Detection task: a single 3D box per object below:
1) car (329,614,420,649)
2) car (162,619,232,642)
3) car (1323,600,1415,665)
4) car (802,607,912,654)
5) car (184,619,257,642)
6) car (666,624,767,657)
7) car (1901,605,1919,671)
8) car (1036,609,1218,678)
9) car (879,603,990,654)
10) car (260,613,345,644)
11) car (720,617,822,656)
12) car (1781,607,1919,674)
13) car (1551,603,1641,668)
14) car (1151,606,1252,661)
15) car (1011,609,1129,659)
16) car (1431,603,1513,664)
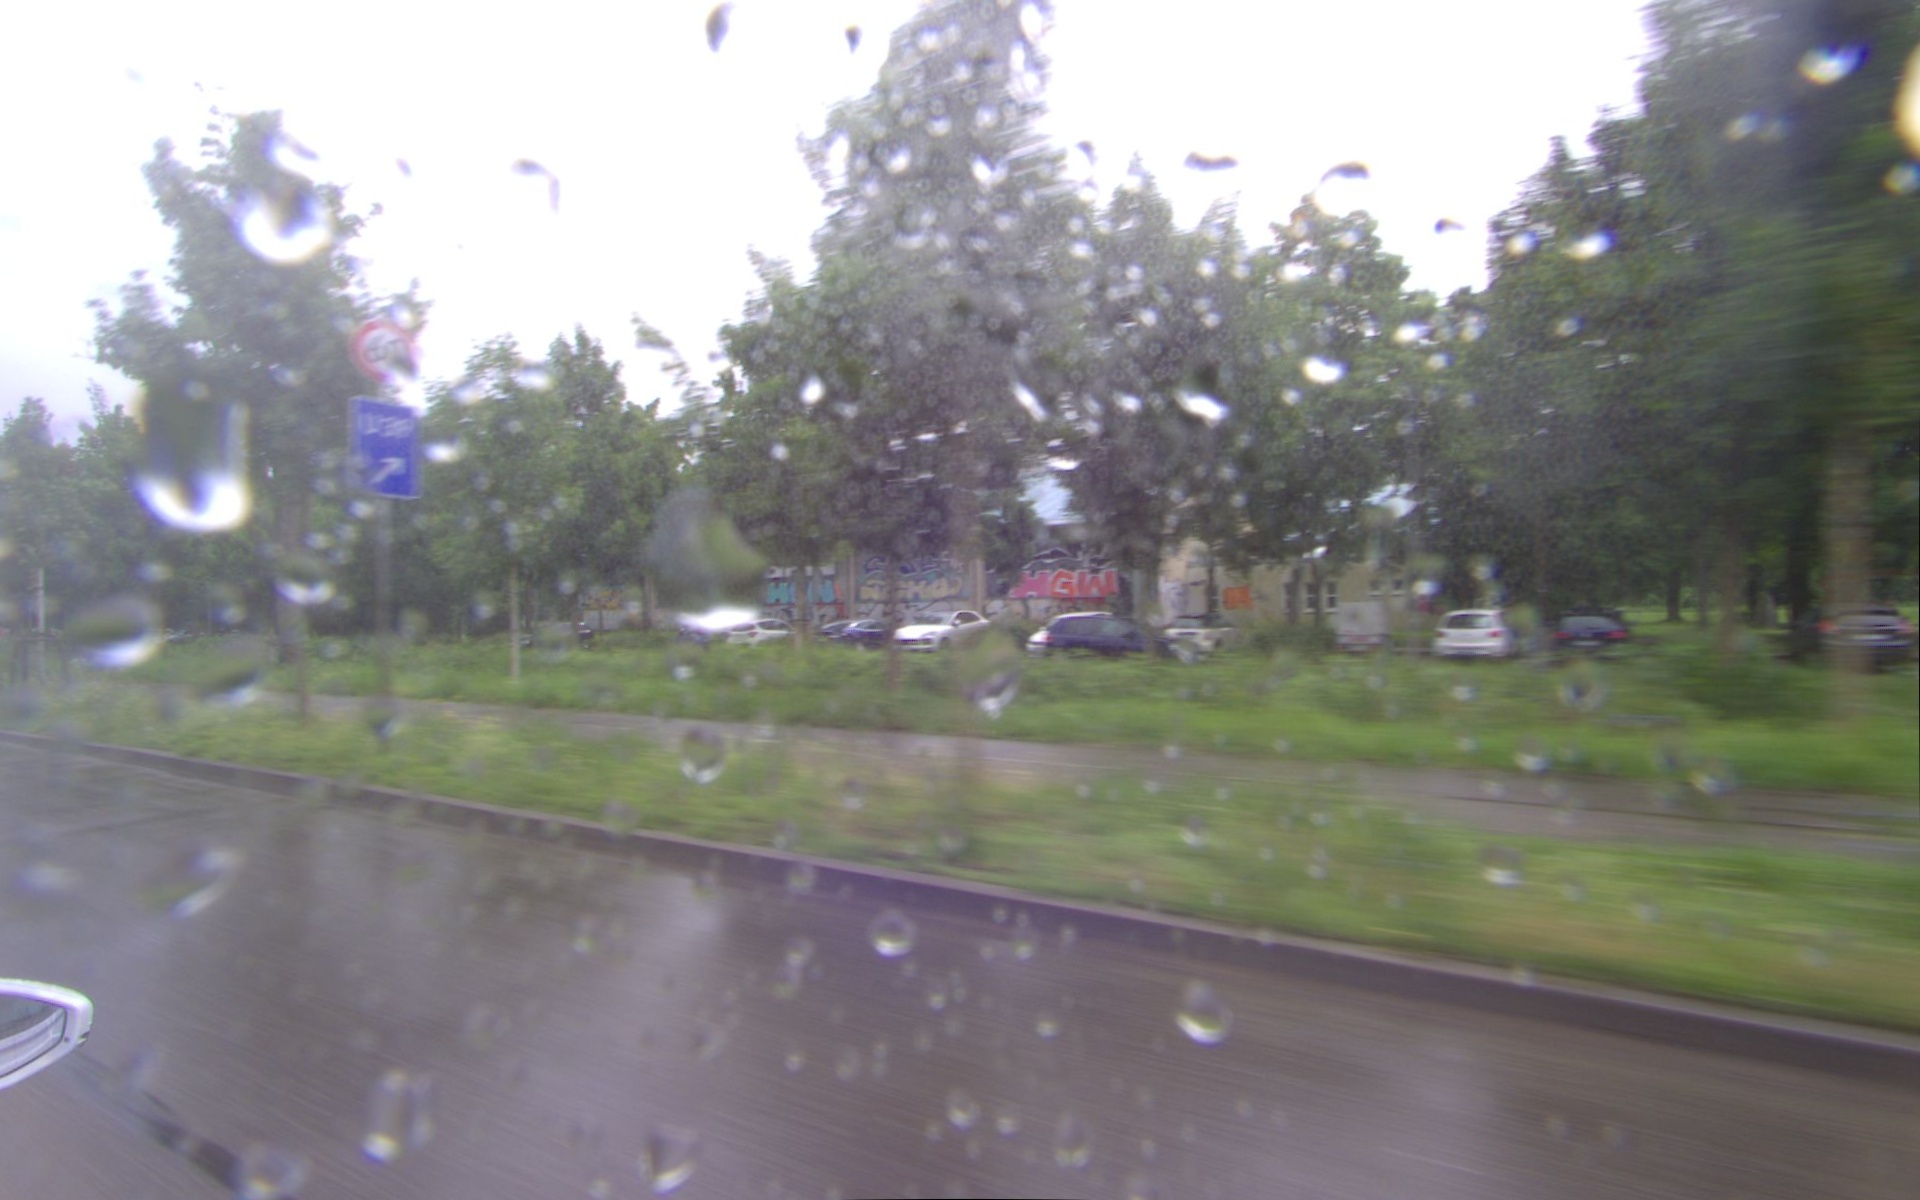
[{"bbox_3d":[-32.468,1.778,55.594,1.871,1.843,3.947,-1,-3,34],"label":"car"},{"bbox_3d":[-58.417,2.371,76.734,1.785,1.660,3.972,-2,-3,39],"label":"car"},{"bbox_3d":[12.030,0.971,29.315,1.917,1.746,4.330,-1,-3,30],"label":"car"},{"bbox_3d":[-3.831,1.199,38.203,1.969,1.665,4.568,-1,-3,28],"label":"car"},{"bbox_3d":[-54.064,2.258,73.237,1.785,1.660,3.972,-2,-3,39],"label":"car"},{"bbox_3d":[-10.459,1.757,43.298,1.810,1.351,4.396,-1,-3,28],"label":"car"},{"bbox_3d":[22.175,0.814,21.489,1.917,1.502,4.330,-1,-3,30],"label":"car"},{"bbox_3d":[4.037,0.994,24.534,4.067,1.465,1.739,1,1,36],"label":"car"},{"bbox_3d":[-0.840,1.089,36.450,1.970,1.727,4.566,-1,-3,30],"label":"car"},{"bbox_3d":[-40.028,1.777,61.035,1.871,1.843,3.947,-1,-3,34],"label":"car"},{"bbox_3d":[-7.973,1.570,42.734,1.834,1.566,4.568,-1,-3,28],"label":"car"},{"bbox_3d":[19.977,0.914,22.370,1.840,1.357,4.175,-1,-3,30],"label":"car"},{"bbox_3d":[15.918,0.912,25.087,1.765,1.478,4.123,-1,-3,33],"label":"car"},{"bbox_3d":[7.622,1.062,31.304,1.917,1.577,4.330,-1,-3,30],"label":"car"},{"bbox_3d":[3.775,1.167,33.607,1.921,1.577,4.556,-2,-3,37],"label":"car"},{"bbox_3d":[13.769,0.917,26.832,1.734,1.502,4.185,-1,-3,30],"label":"car"}]
